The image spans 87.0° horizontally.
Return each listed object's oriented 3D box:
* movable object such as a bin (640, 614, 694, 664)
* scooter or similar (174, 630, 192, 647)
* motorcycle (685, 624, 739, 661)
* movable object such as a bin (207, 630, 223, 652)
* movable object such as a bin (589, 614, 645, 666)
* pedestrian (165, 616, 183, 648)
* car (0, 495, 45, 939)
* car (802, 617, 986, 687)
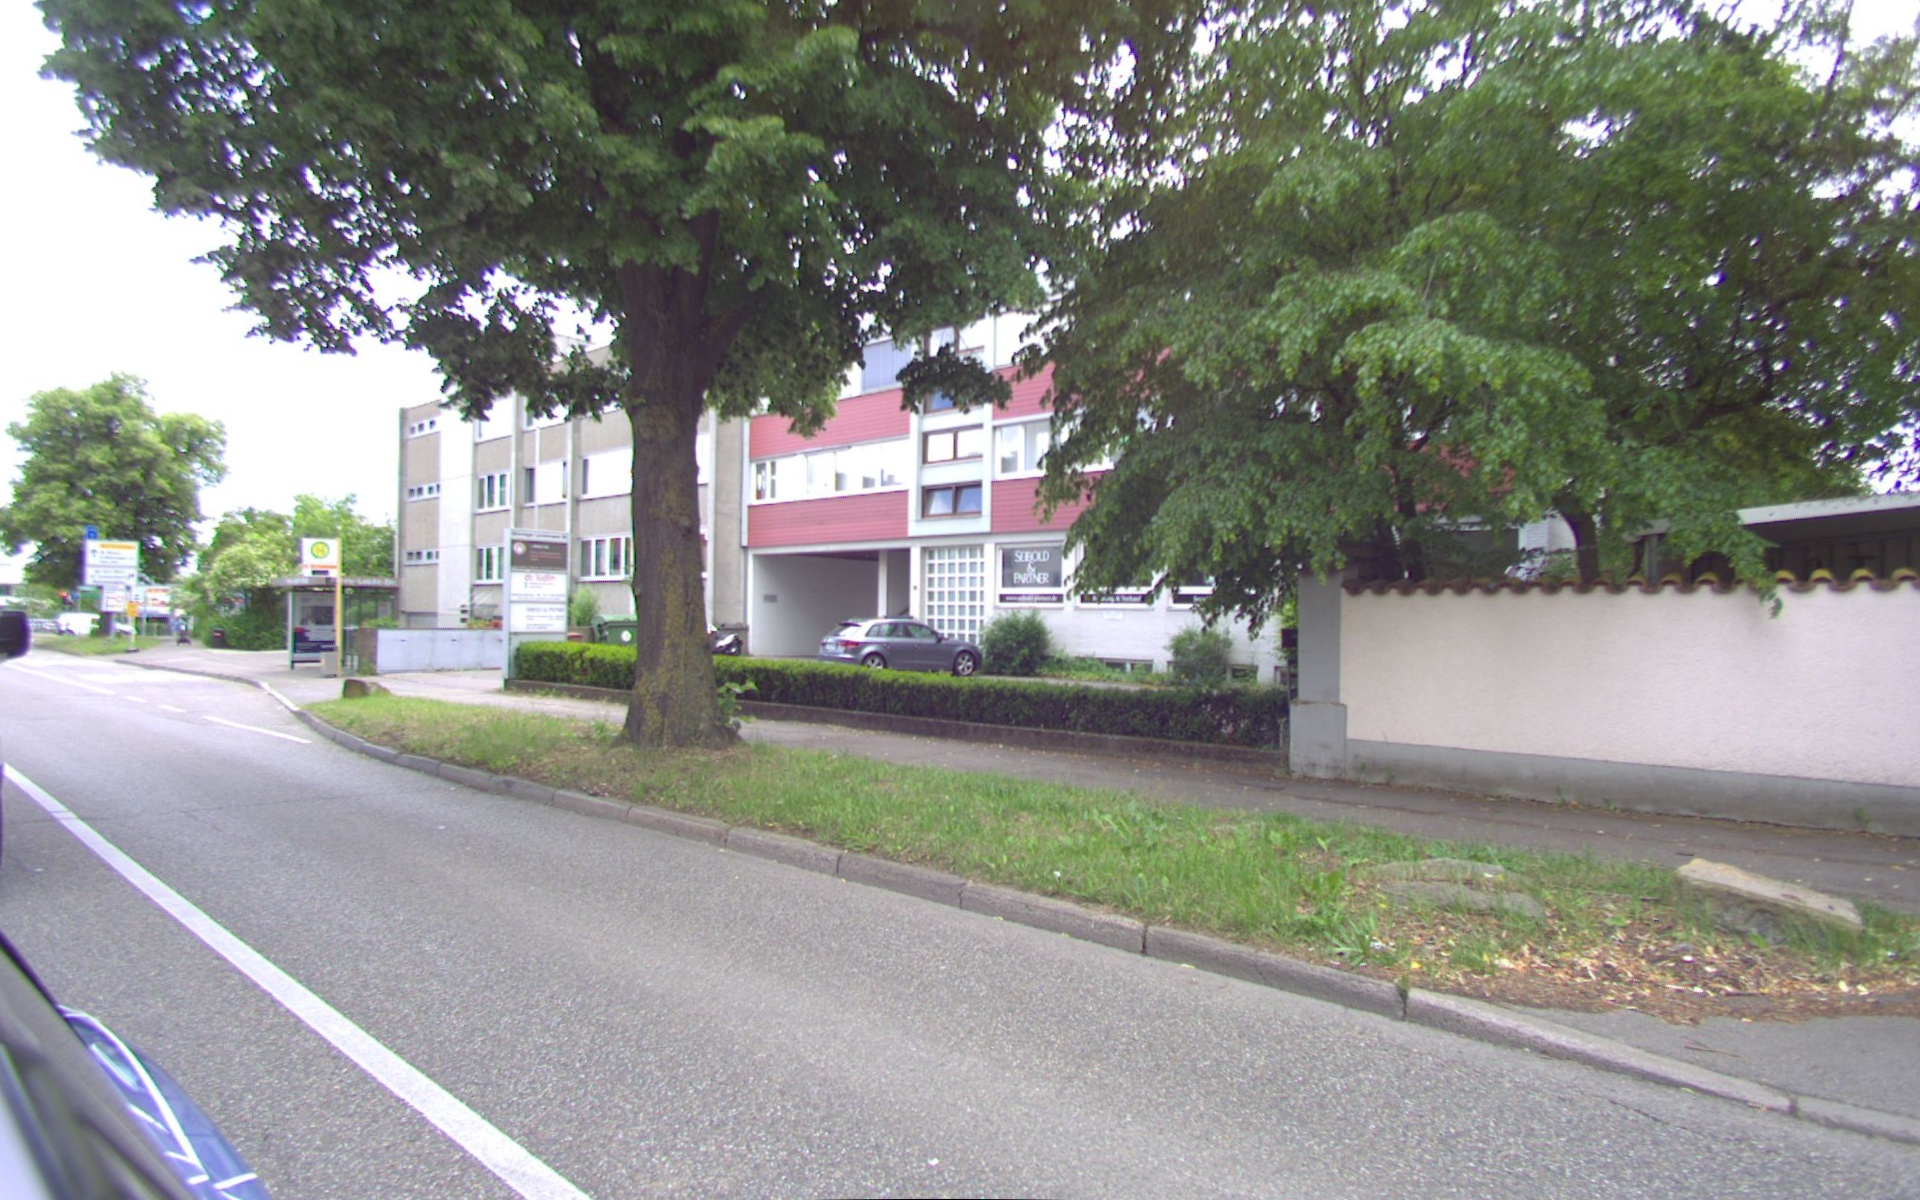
[{"bbox_3d":[-9.057,1.188,31.333,0.884,1.476,1.347,0,0,41],"label":"movable object such as a bin"},{"bbox_3d":[-37.984,1.882,49.480,0.598,0.792,0.861,0,0,-32],"label":"scooter or similar"},{"bbox_3d":[-8.005,1.353,32.665,0.639,1.148,1.624,0,0,41],"label":"motorcycle"},{"bbox_3d":[-33.796,1.858,45.916,0.558,0.934,0.609,1,-1,-33],"label":"movable object such as a bin"},{"bbox_3d":[-10.197,1.171,30.094,0.992,1.476,1.285,0,0,41],"label":"movable object such as a bin"},{"bbox_3d":[-38.898,1.576,50.093,0.662,1.570,0.521,0,0,-32],"label":"pedestrian"},{"bbox_3d":[-7.017,0.531,5.718,5.710,1.987,1.973,0,0,40],"label":"car"},{"bbox_3d":[-1.548,1.186,24.414,4.082,1.490,1.817,0,0,-35],"label":"car"}]
